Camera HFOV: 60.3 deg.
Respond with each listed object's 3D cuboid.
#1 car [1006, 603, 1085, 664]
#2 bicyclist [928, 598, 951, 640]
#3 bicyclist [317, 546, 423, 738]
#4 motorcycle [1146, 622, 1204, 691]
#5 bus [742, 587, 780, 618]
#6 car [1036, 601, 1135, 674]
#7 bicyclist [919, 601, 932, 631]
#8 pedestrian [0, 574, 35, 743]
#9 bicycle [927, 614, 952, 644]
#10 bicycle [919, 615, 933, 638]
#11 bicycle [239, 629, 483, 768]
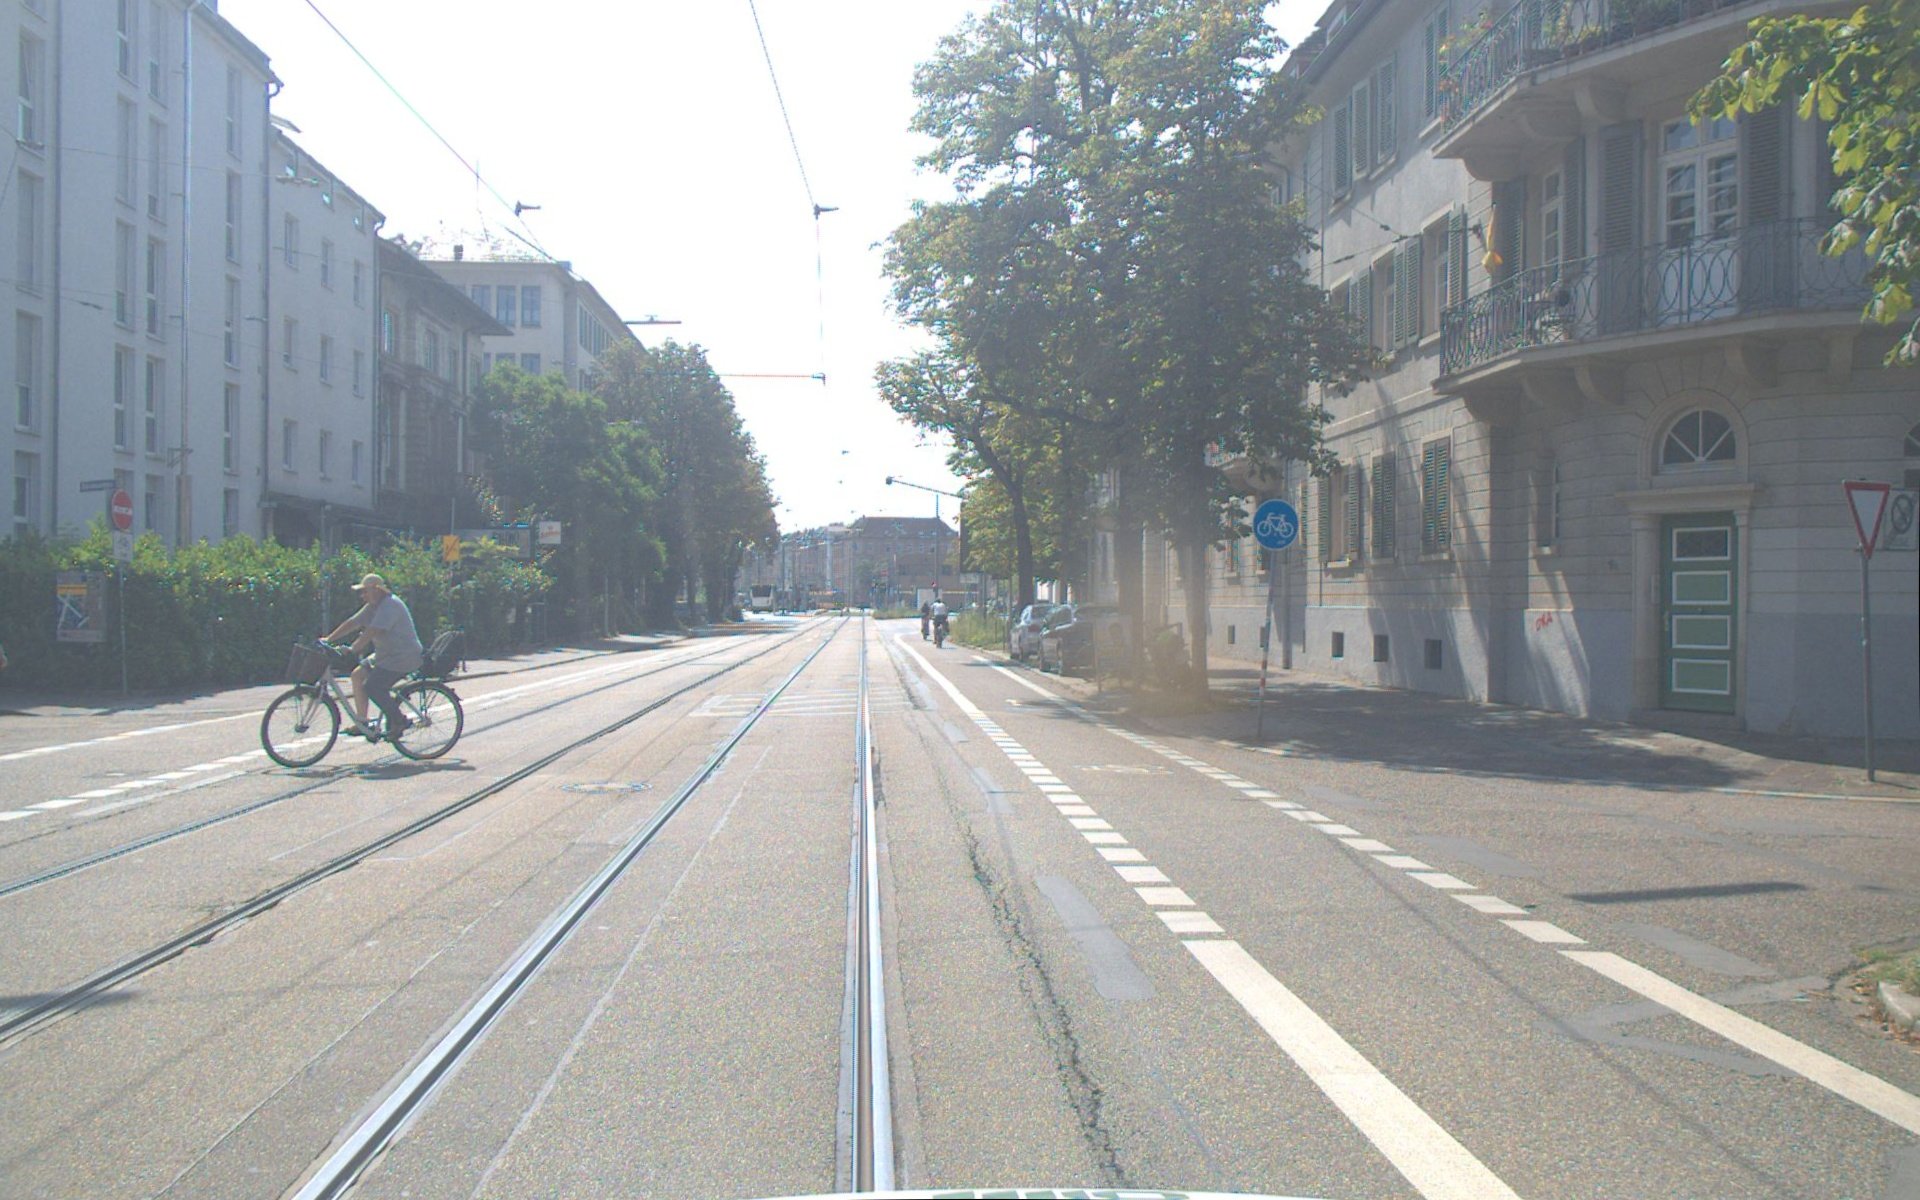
[{"bbox_3d":[2.162,0.845,42.513,1.553,1.490,3.463,0,-1,-5],"label":"car"},{"bbox_3d":[-0.696,0.649,56.813,0.743,1.416,0.778,0,0,-4],"label":"bicyclist"},{"bbox_3d":[-5.331,0.365,14.935,0.813,1.671,0.779,1,0,-26],"label":"bicyclist"},{"bbox_3d":[3.592,0.928,27.823,0.538,1.086,2.329,0,0,-3],"label":"motorcycle"},{"bbox_3d":[-23.042,0.303,192.164,3.661,3.423,15.107,0,0,-4],"label":"bus"},{"bbox_3d":[2.631,0.785,35.247,1.553,1.490,3.411,0,-1,-5],"label":"car"},{"bbox_3d":[-1.487,0.686,71.980,0.567,1.301,0.471,0,0,-1],"label":"bicyclist"},{"bbox_3d":[-10.591,0.623,17.749,0.764,1.787,1.040,0,0,-3],"label":"pedestrian"},{"bbox_3d":[-0.702,0.995,56.956,0.743,1.008,2.296,0,0,-4],"label":"bicycle"},{"bbox_3d":[-1.490,1.138,72.036,0.576,0.955,2.171,0,0,-1],"label":"bicycle"},{"bbox_3d":[-5.394,0.854,14.908,2.009,1.171,0.779,0,0,-26],"label":"bicycle"}]
